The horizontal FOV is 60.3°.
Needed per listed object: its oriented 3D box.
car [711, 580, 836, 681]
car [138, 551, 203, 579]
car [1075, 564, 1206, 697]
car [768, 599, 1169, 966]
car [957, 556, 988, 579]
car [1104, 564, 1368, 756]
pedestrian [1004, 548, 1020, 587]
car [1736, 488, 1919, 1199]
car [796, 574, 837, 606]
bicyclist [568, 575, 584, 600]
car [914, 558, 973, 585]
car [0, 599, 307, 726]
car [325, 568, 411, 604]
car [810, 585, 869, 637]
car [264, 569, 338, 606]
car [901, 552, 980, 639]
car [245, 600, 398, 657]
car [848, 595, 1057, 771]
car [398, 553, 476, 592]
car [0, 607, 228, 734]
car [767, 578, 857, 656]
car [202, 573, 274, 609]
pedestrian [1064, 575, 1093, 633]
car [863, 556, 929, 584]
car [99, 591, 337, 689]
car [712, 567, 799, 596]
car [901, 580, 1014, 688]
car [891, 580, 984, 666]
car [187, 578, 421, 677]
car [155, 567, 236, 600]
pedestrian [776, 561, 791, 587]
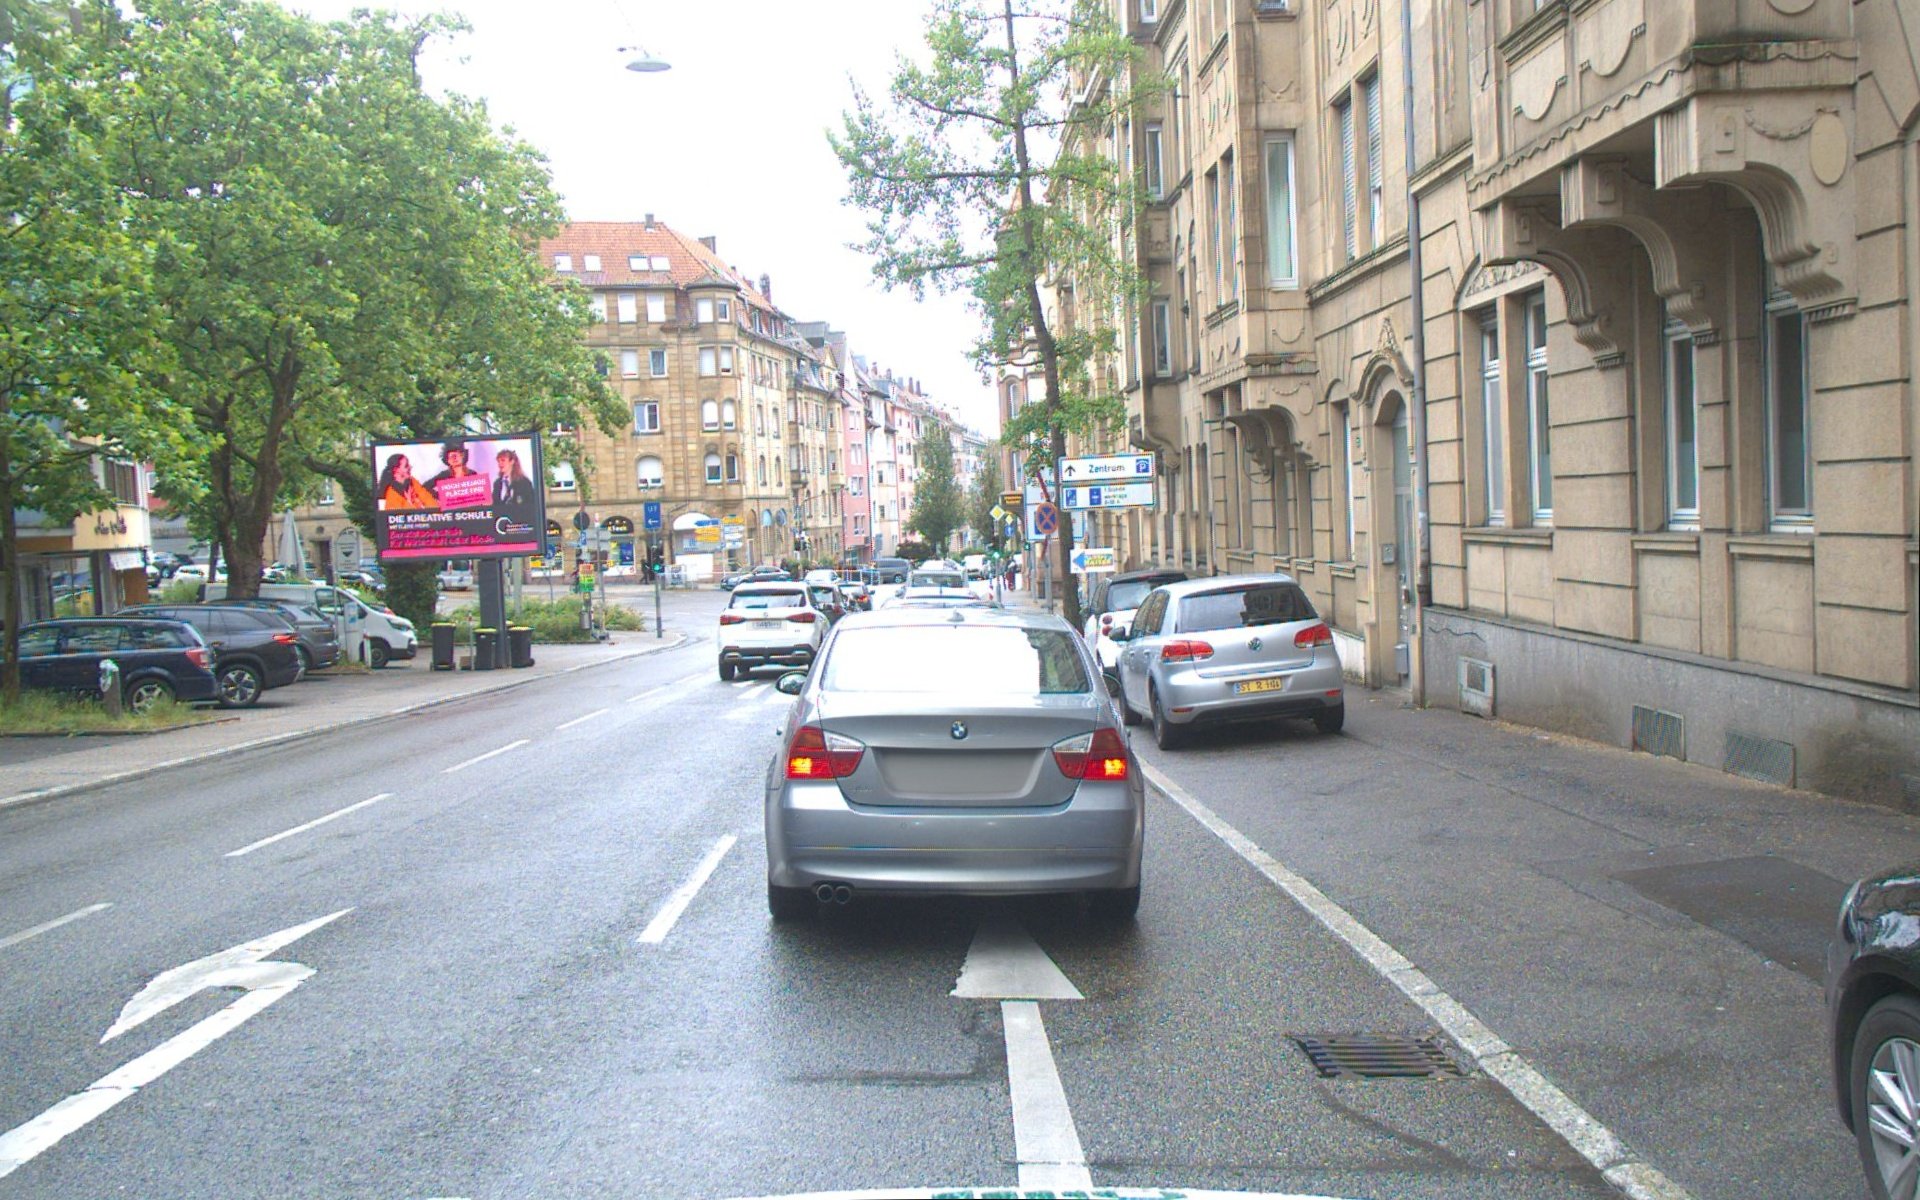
[{"bbox_3d":[-3.256,0.493,29.557,1.830,1.654,3.999,-1,0,-1],"label":"car"},{"bbox_3d":[-51.048,-2.280,106.940,3.909,1.718,1.726,1,0,27],"label":"car"},{"bbox_3d":[2.414,0.372,22.683,1.273,1.569,2.975,-6,1,-1],"label":"car"},{"bbox_3d":[0.045,0.726,8.414,1.590,1.407,3.615,-1,1,0],"label":"car"},{"bbox_3d":[0.924,-2.350,120.453,1.951,1.606,4.002,1,0,5],"label":"car"},{"bbox_3d":[2.563,0.496,16.304,1.725,1.476,3.999,-6,1,-1],"label":"car"},{"bbox_3d":[2.626,-1.659,84.310,0.727,1.943,0.659,-2,0,-2],"label":"pedestrian"},{"bbox_3d":[2.795,0.544,1.908,1.724,1.679,4.098,-6,1,0],"label":"car"},{"bbox_3d":[-6.951,-0.492,80.261,1.680,1.476,3.741,-2,0,-1],"label":"car"},{"bbox_3d":[-20.216,-0.650,87.045,0.556,1.295,0.690,1,-1,11],"label":"bicyclist"},{"bbox_3d":[-1.009,-1.811,105.075,1.957,1.606,3.991,1,0,31],"label":"car"},{"bbox_3d":[-12.896,0.949,26.671,4.308,1.701,1.842,-3,1,-24],"label":"car"},{"bbox_3d":[-30.809,-0.755,86.054,4.157,1.756,1.997,1,2,30],"label":"car"},{"bbox_3d":[-4.221,0.348,58.468,1.723,1.737,4.000,-1,1,0],"label":"car"},{"bbox_3d":[-40.536,-0.787,101.728,4.196,2.138,1.998,2,2,28],"label":"car"},{"bbox_3d":[-0.502,-0.113,42.901,1.953,2.143,3.999,0,0,-1],"label":"car"},{"bbox_3d":[-17.996,0.785,46.700,3.916,1.476,1.757,-2,0,-22],"label":"car"},{"bbox_3d":[-0.049,0.686,15.781,1.723,1.407,4.000,-1,1,0],"label":"car"},{"bbox_3d":[-30.396,-1.602,96.141,4.196,2.138,1.998,2,2,28],"label":"car"},{"bbox_3d":[-13.002,1.017,23.927,4.299,1.601,1.929,-3,1,-24],"label":"car"},{"bbox_3d":[-3.438,0.362,39.044,1.723,1.737,4.000,-1,1,0],"label":"car"},{"bbox_3d":[-45.440,-0.598,104.099,4.196,2.138,1.998,2,2,28],"label":"car"},{"bbox_3d":[3.288,0.109,46.003,0.618,1.534,0.693,-6,0,-2],"label":"pedestrian"},{"bbox_3d":[-4.966,-2.326,129.838,5.072,2.049,2.698,1,0,-1],"label":"car"},{"bbox_3d":[-15.127,0.778,33.985,4.295,1.815,1.927,-2,0,-22],"label":"car"},{"bbox_3d":[-11.791,-1.054,95.502,4.606,1.606,1.973,1,0,-38],"label":"car"},{"bbox_3d":[-0.024,0.452,25.306,1.562,1.490,4.000,1,1,0],"label":"car"},{"bbox_3d":[-0.446,0.401,32.870,1.724,1.594,4.000,-1,1,-1],"label":"car"},{"bbox_3d":[-15.497,0.610,39.280,4.989,2.142,1.979,-2,0,-22],"label":"car"},{"bbox_3d":[-42.820,-0.936,92.620,4.155,1.756,1.998,0,3,29],"label":"car"},{"bbox_3d":[-10.759,-1.582,100.869,0.716,1.605,0.528,-1,0,8],"label":"pedestrian"}]
